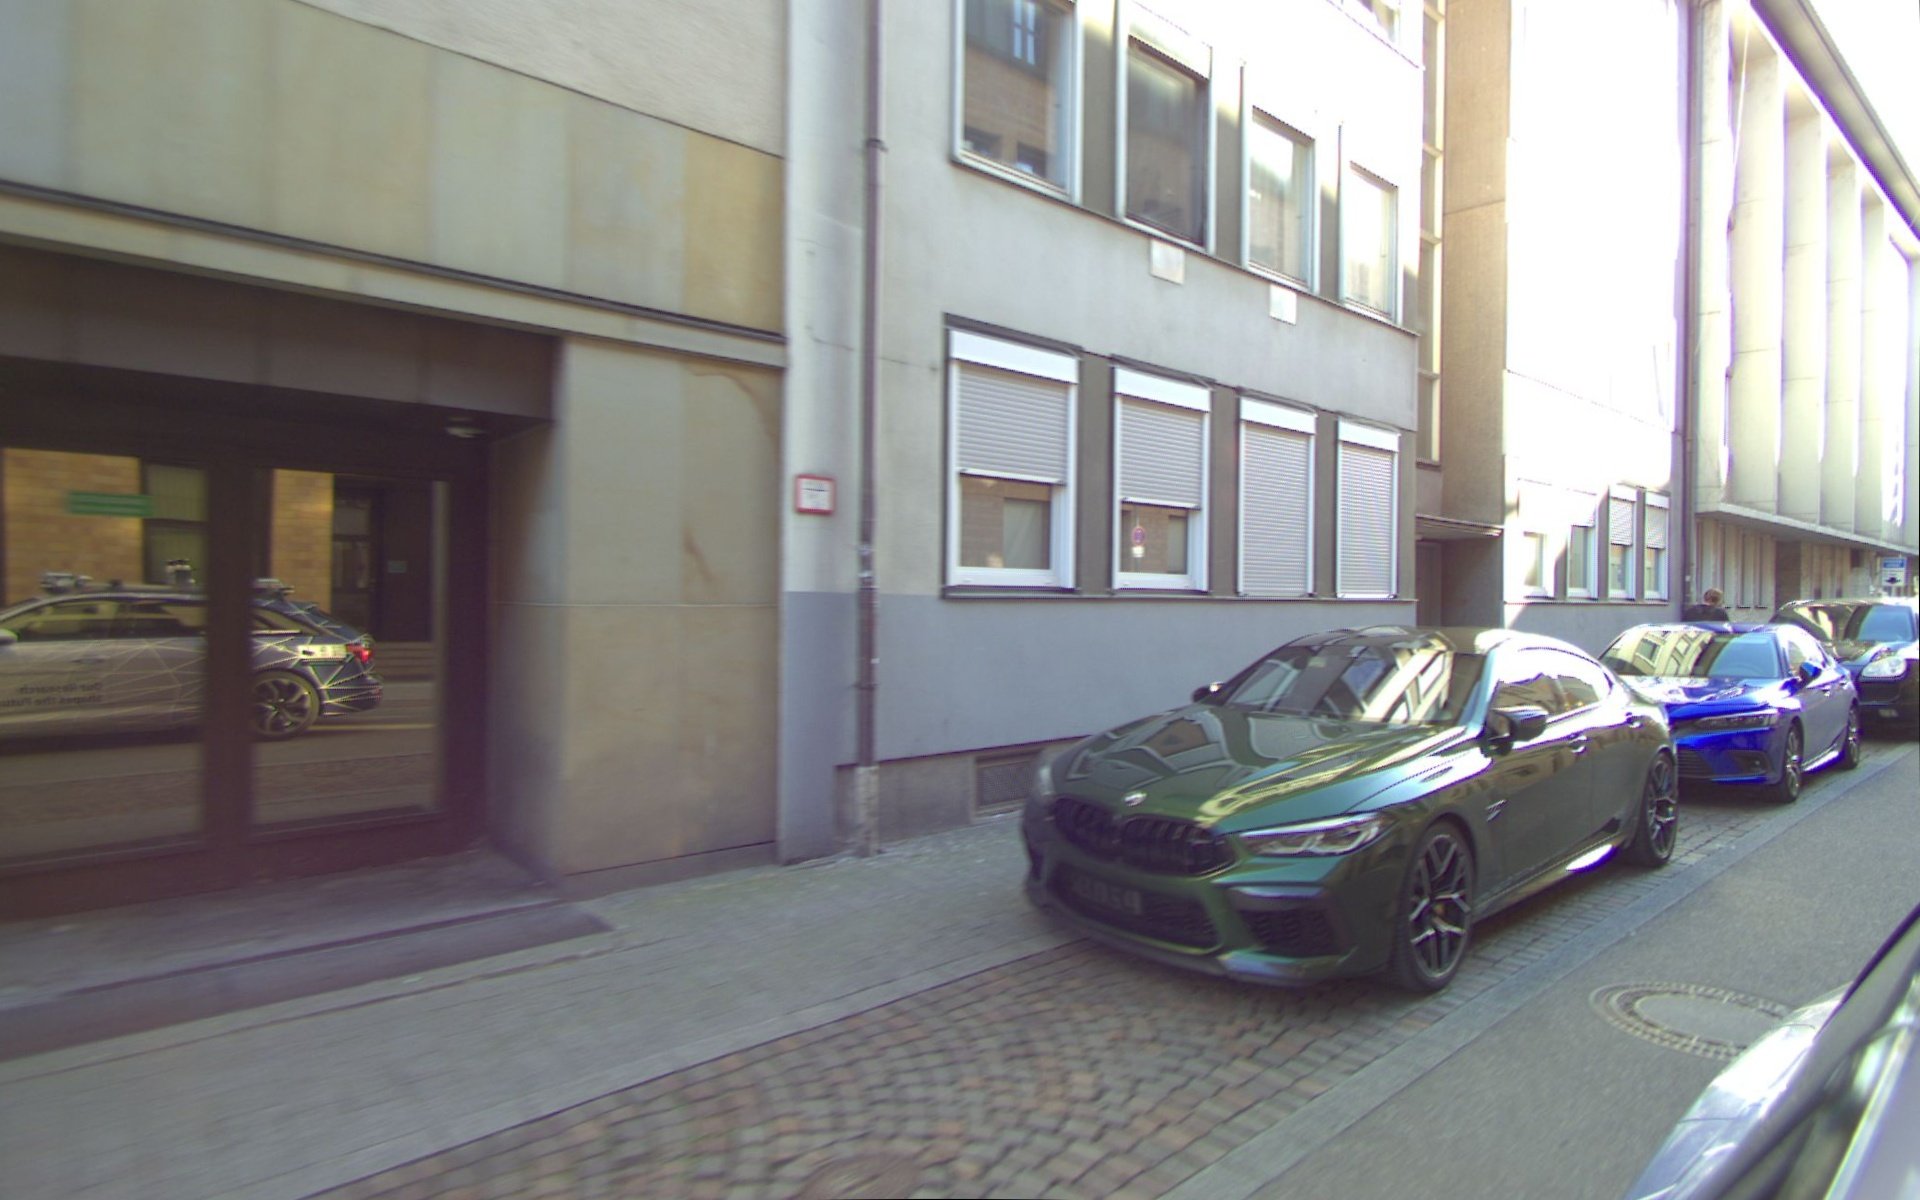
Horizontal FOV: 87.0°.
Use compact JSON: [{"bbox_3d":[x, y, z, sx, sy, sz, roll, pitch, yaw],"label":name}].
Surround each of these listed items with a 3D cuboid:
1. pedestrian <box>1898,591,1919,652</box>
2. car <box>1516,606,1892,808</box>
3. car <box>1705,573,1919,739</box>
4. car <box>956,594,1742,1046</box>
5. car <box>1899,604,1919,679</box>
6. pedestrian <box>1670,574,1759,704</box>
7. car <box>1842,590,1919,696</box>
[{"bbox_3d":[28.131,0.630,29.693,0.611,1.758,0.626,0,0,5],"label":"pedestrian"},{"bbox_3d":[7.116,0.792,9.473,4.706,1.431,1.810,0,-2,-41],"label":"car"},{"bbox_3d":[11.838,0.624,13.291,4.960,1.808,2.108,0,-1,-39],"label":"car"},{"bbox_3d":[2.546,0.728,5.699,5.133,1.471,1.897,0,-1,-40],"label":"car"},{"bbox_3d":[21.517,0.827,21.342,4.516,1.524,1.826,0,-3,-39],"label":"car"},{"bbox_3d":[10.659,0.524,14.310,0.733,1.742,0.790,1,2,-39],"label":"pedestrian"},{"bbox_3d":[17.454,0.699,17.889,4.756,1.724,1.997,0,-2,-39],"label":"car"}]
